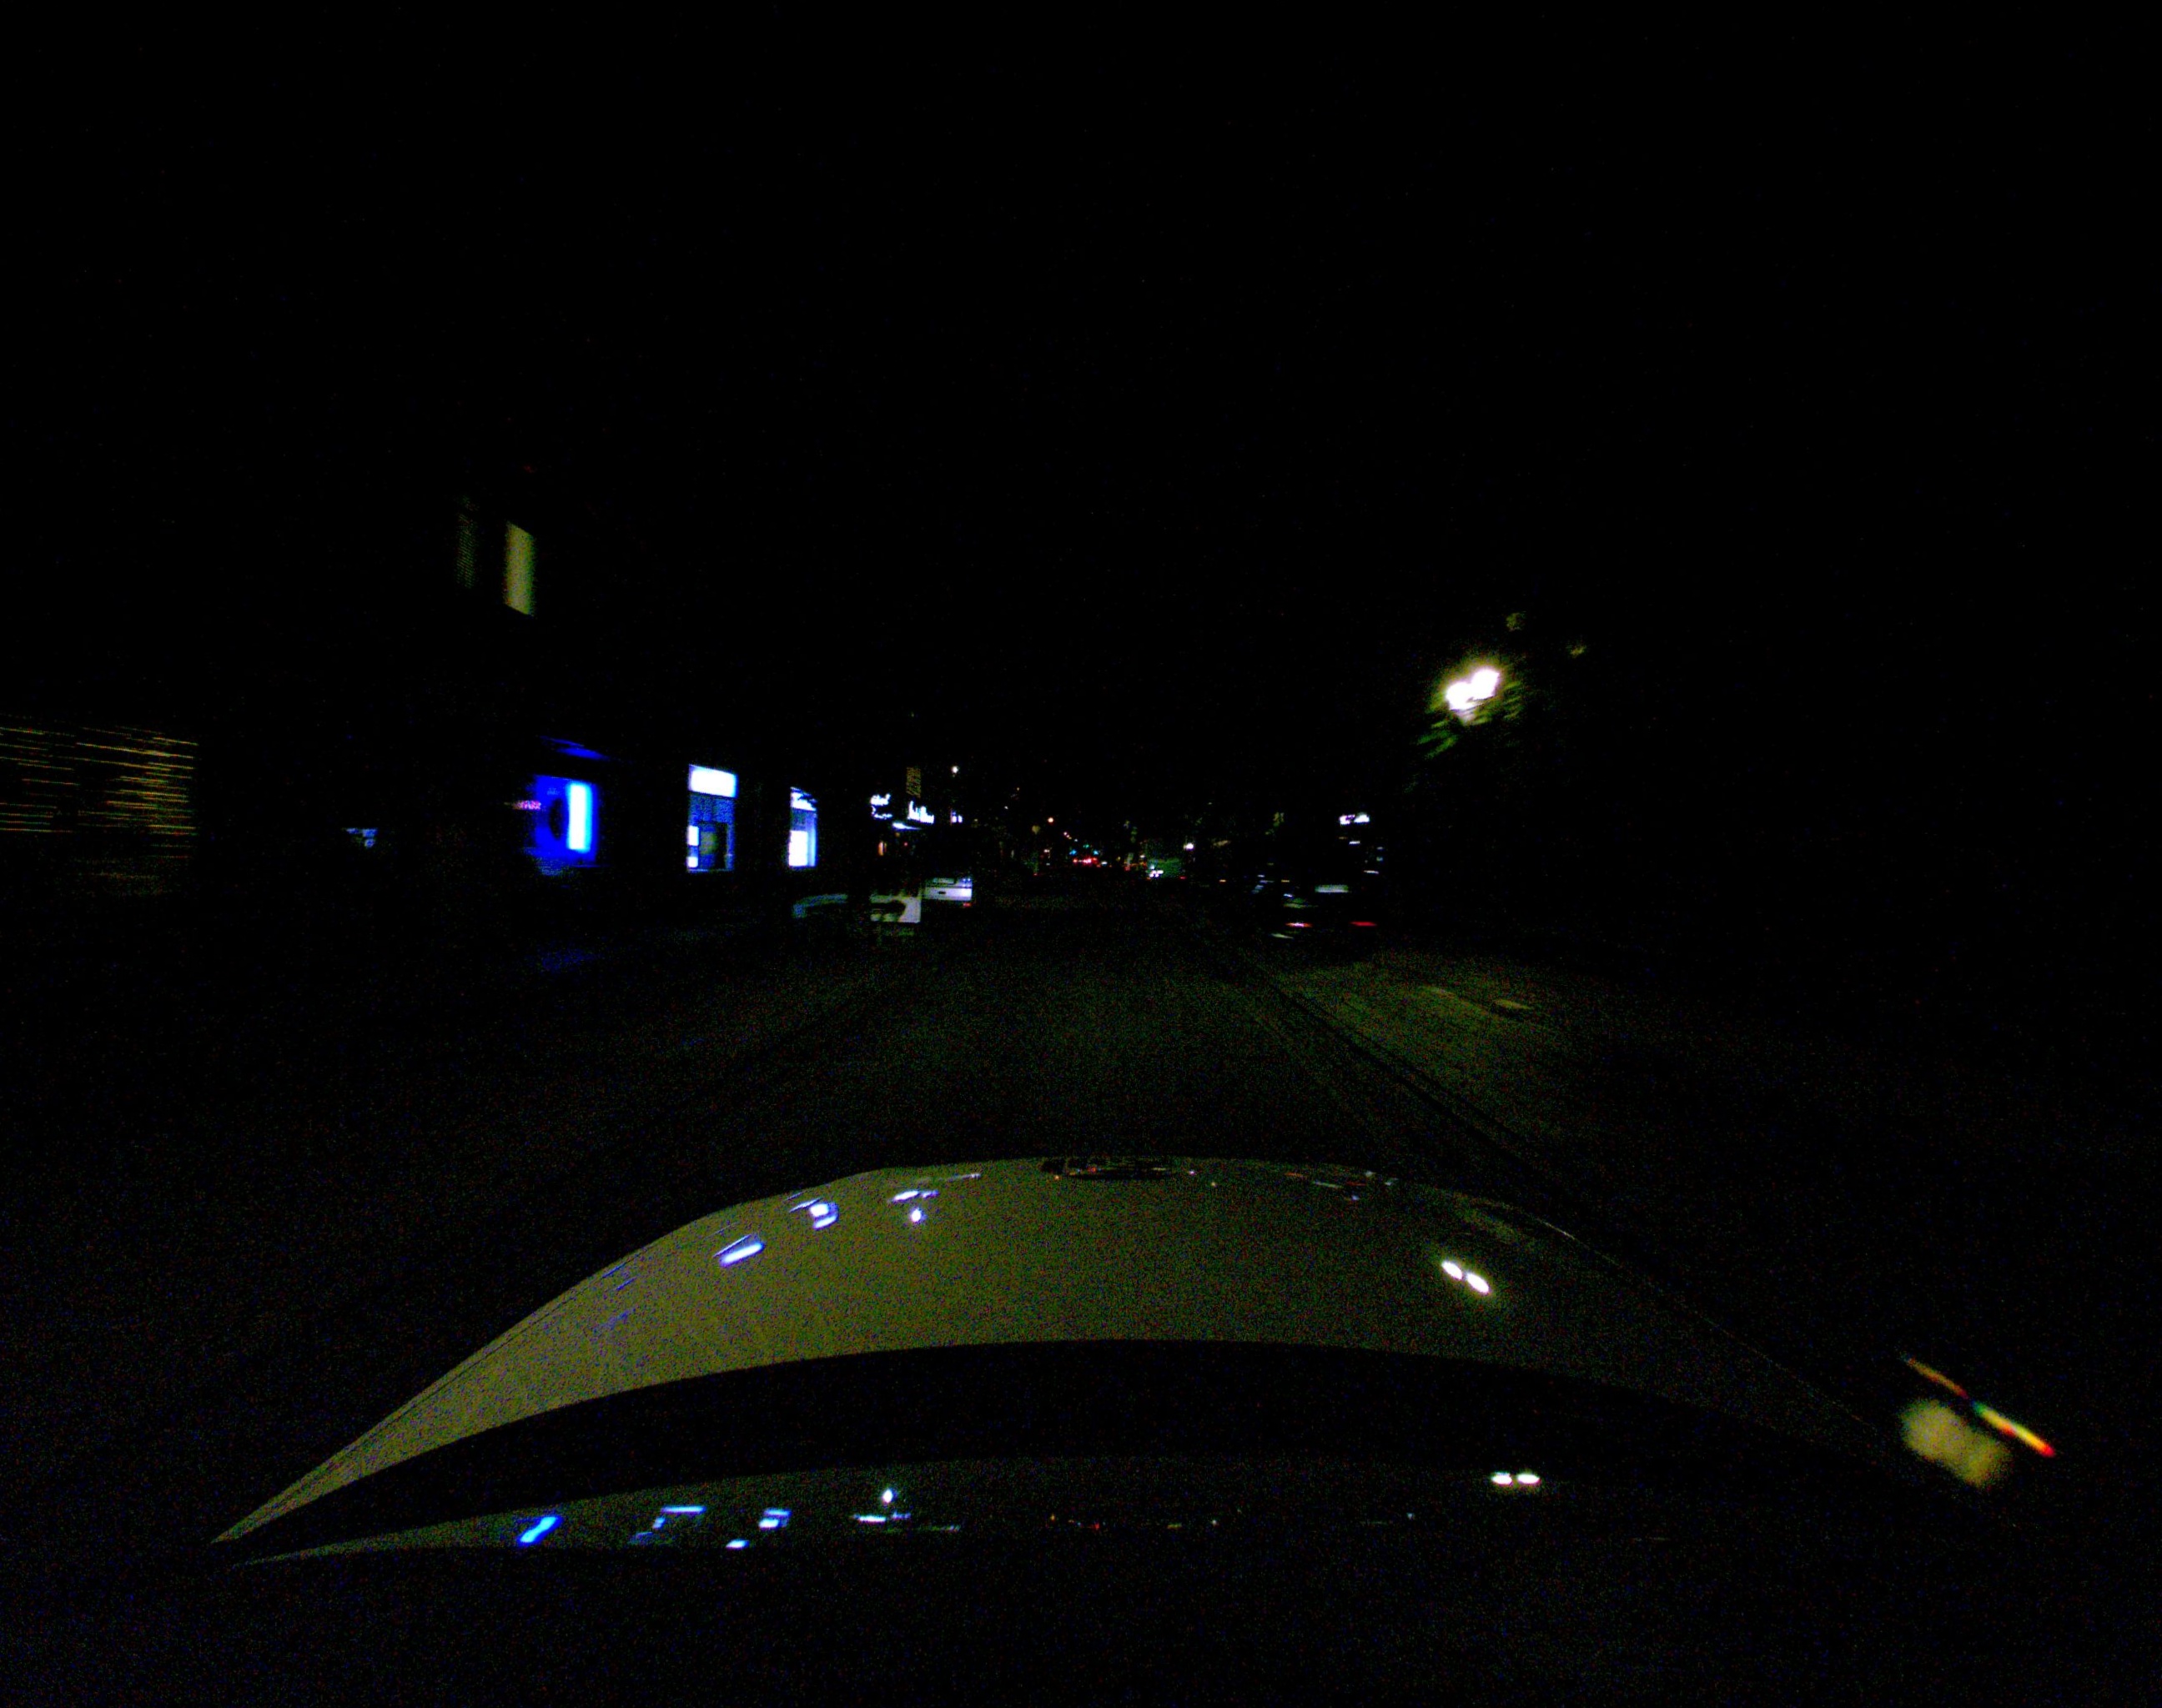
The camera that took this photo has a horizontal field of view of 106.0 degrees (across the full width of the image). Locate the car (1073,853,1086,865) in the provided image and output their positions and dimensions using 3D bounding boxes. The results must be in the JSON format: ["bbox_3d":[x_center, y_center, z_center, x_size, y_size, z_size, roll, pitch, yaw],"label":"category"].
[{"bbox_3d":[-0.257,0.770,123.599,1.987,1.823,3.999,1,0,-1],"label":"car"}]

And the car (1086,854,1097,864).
[{"bbox_3d":[1.900,0.855,147.481,1.987,1.823,3.999,1,0,-1],"label":"car"}]

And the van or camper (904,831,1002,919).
[{"bbox_3d":[-3.216,0.511,21.277,1.861,2.011,4.260,2,0,-1],"label":"van or camper"}]

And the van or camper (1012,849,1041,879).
[{"bbox_3d":[-3.707,0.691,56.020,1.931,1.989,3.841,0,0,-3],"label":"van or camper"}]

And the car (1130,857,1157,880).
[{"bbox_3d":[4.014,0.929,52.971,1.526,1.418,3.846,0,0,1],"label":"car"}]

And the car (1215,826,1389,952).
[{"bbox_3d":[3.558,0.520,13.956,1.809,1.828,4.346,0,0,0],"label":"car"}]

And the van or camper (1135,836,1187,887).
[{"bbox_3d":[3.868,0.358,40.049,2.102,2.317,4.260,-1,0,-1],"label":"van or camper"}]

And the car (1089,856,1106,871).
[{"bbox_3d":[1.749,1.046,86.590,1.833,1.542,3.846,0,0,1],"label":"car"}]

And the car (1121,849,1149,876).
[{"bbox_3d":[3.875,0.624,58.733,1.833,1.901,3.846,0,0,1],"label":"car"}]
